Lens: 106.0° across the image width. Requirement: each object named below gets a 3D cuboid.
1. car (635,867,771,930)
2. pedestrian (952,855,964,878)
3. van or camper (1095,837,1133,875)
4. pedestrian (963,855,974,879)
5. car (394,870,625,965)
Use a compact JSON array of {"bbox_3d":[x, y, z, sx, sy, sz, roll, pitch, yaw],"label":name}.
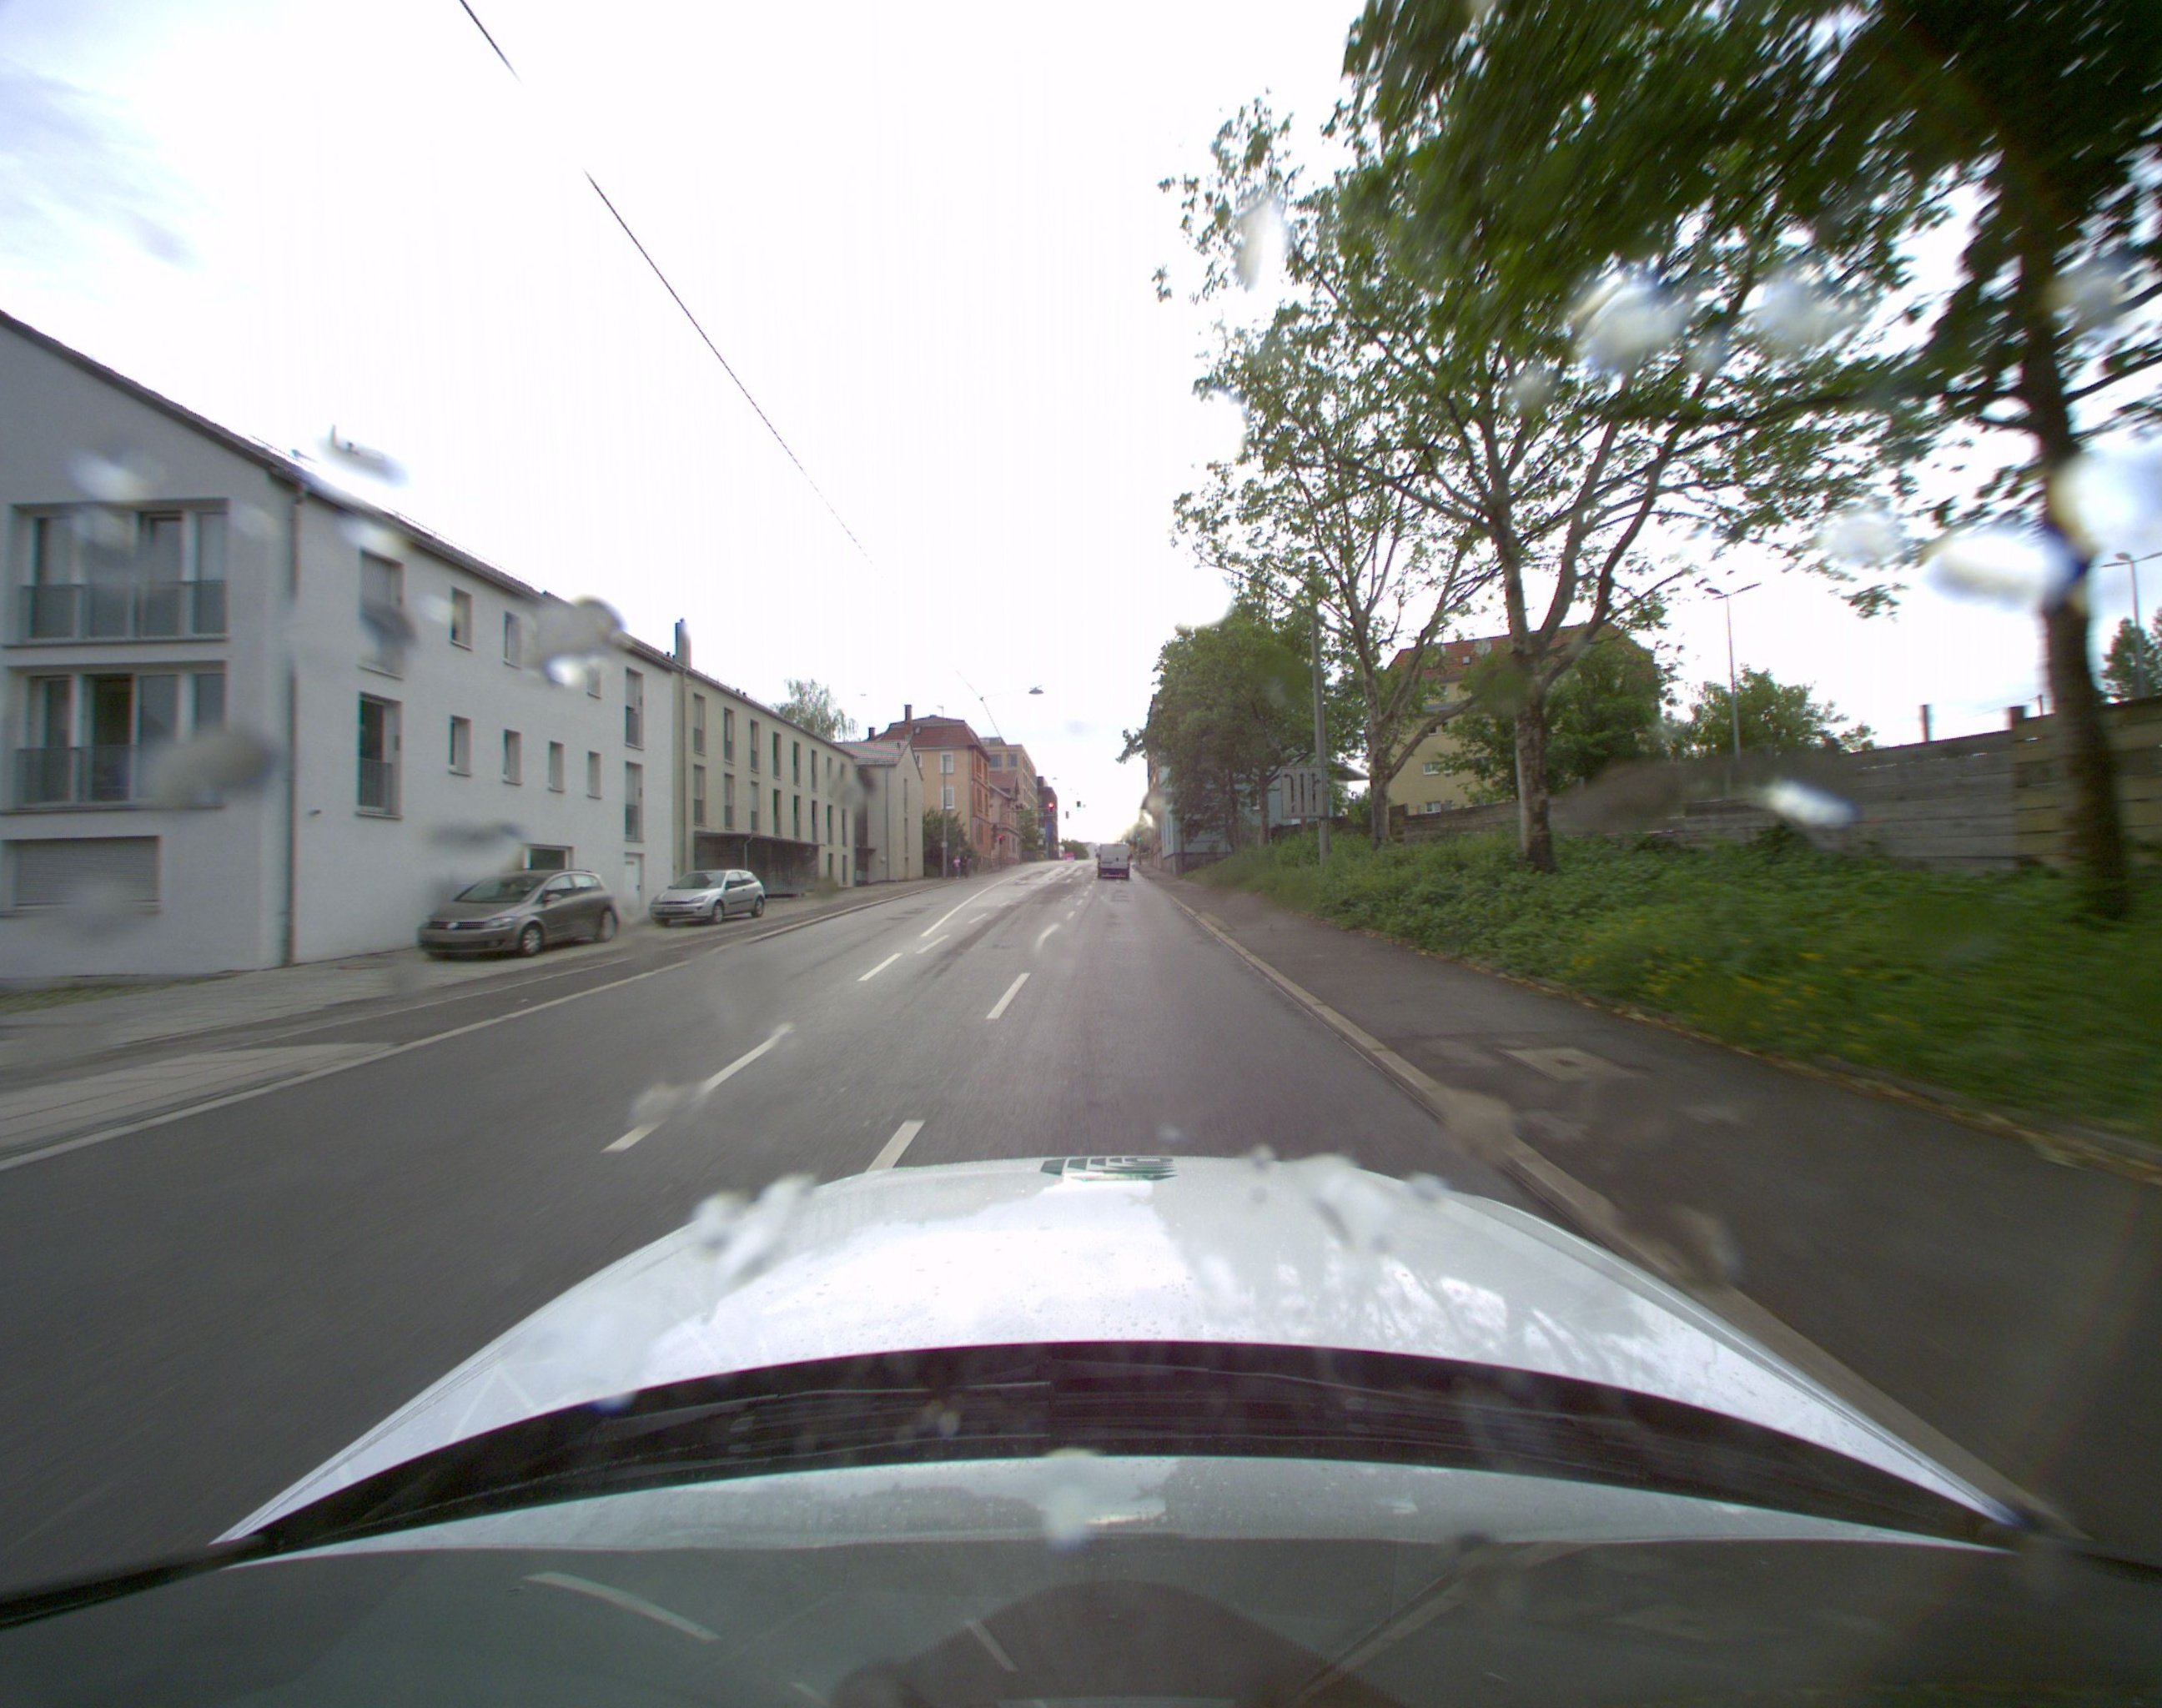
[{"bbox_3d":[-10.466,1.162,22.923,1.738,1.508,4.179,-2,0,2],"label":"car"},{"bbox_3d":[-9.049,0.925,59.978,0.637,1.706,0.912,-1,0,2],"label":"pedestrian"},{"bbox_3d":[2.164,0.140,52.589,2.330,2.357,5.202,0,-1,2],"label":"van or camper"},{"bbox_3d":[-8.260,0.959,59.907,0.637,1.706,0.912,-1,0,2],"label":"pedestrian"},{"bbox_3d":[-10.886,1.125,15.939,1.741,1.552,4.080,1,0,-3],"label":"car"}]
